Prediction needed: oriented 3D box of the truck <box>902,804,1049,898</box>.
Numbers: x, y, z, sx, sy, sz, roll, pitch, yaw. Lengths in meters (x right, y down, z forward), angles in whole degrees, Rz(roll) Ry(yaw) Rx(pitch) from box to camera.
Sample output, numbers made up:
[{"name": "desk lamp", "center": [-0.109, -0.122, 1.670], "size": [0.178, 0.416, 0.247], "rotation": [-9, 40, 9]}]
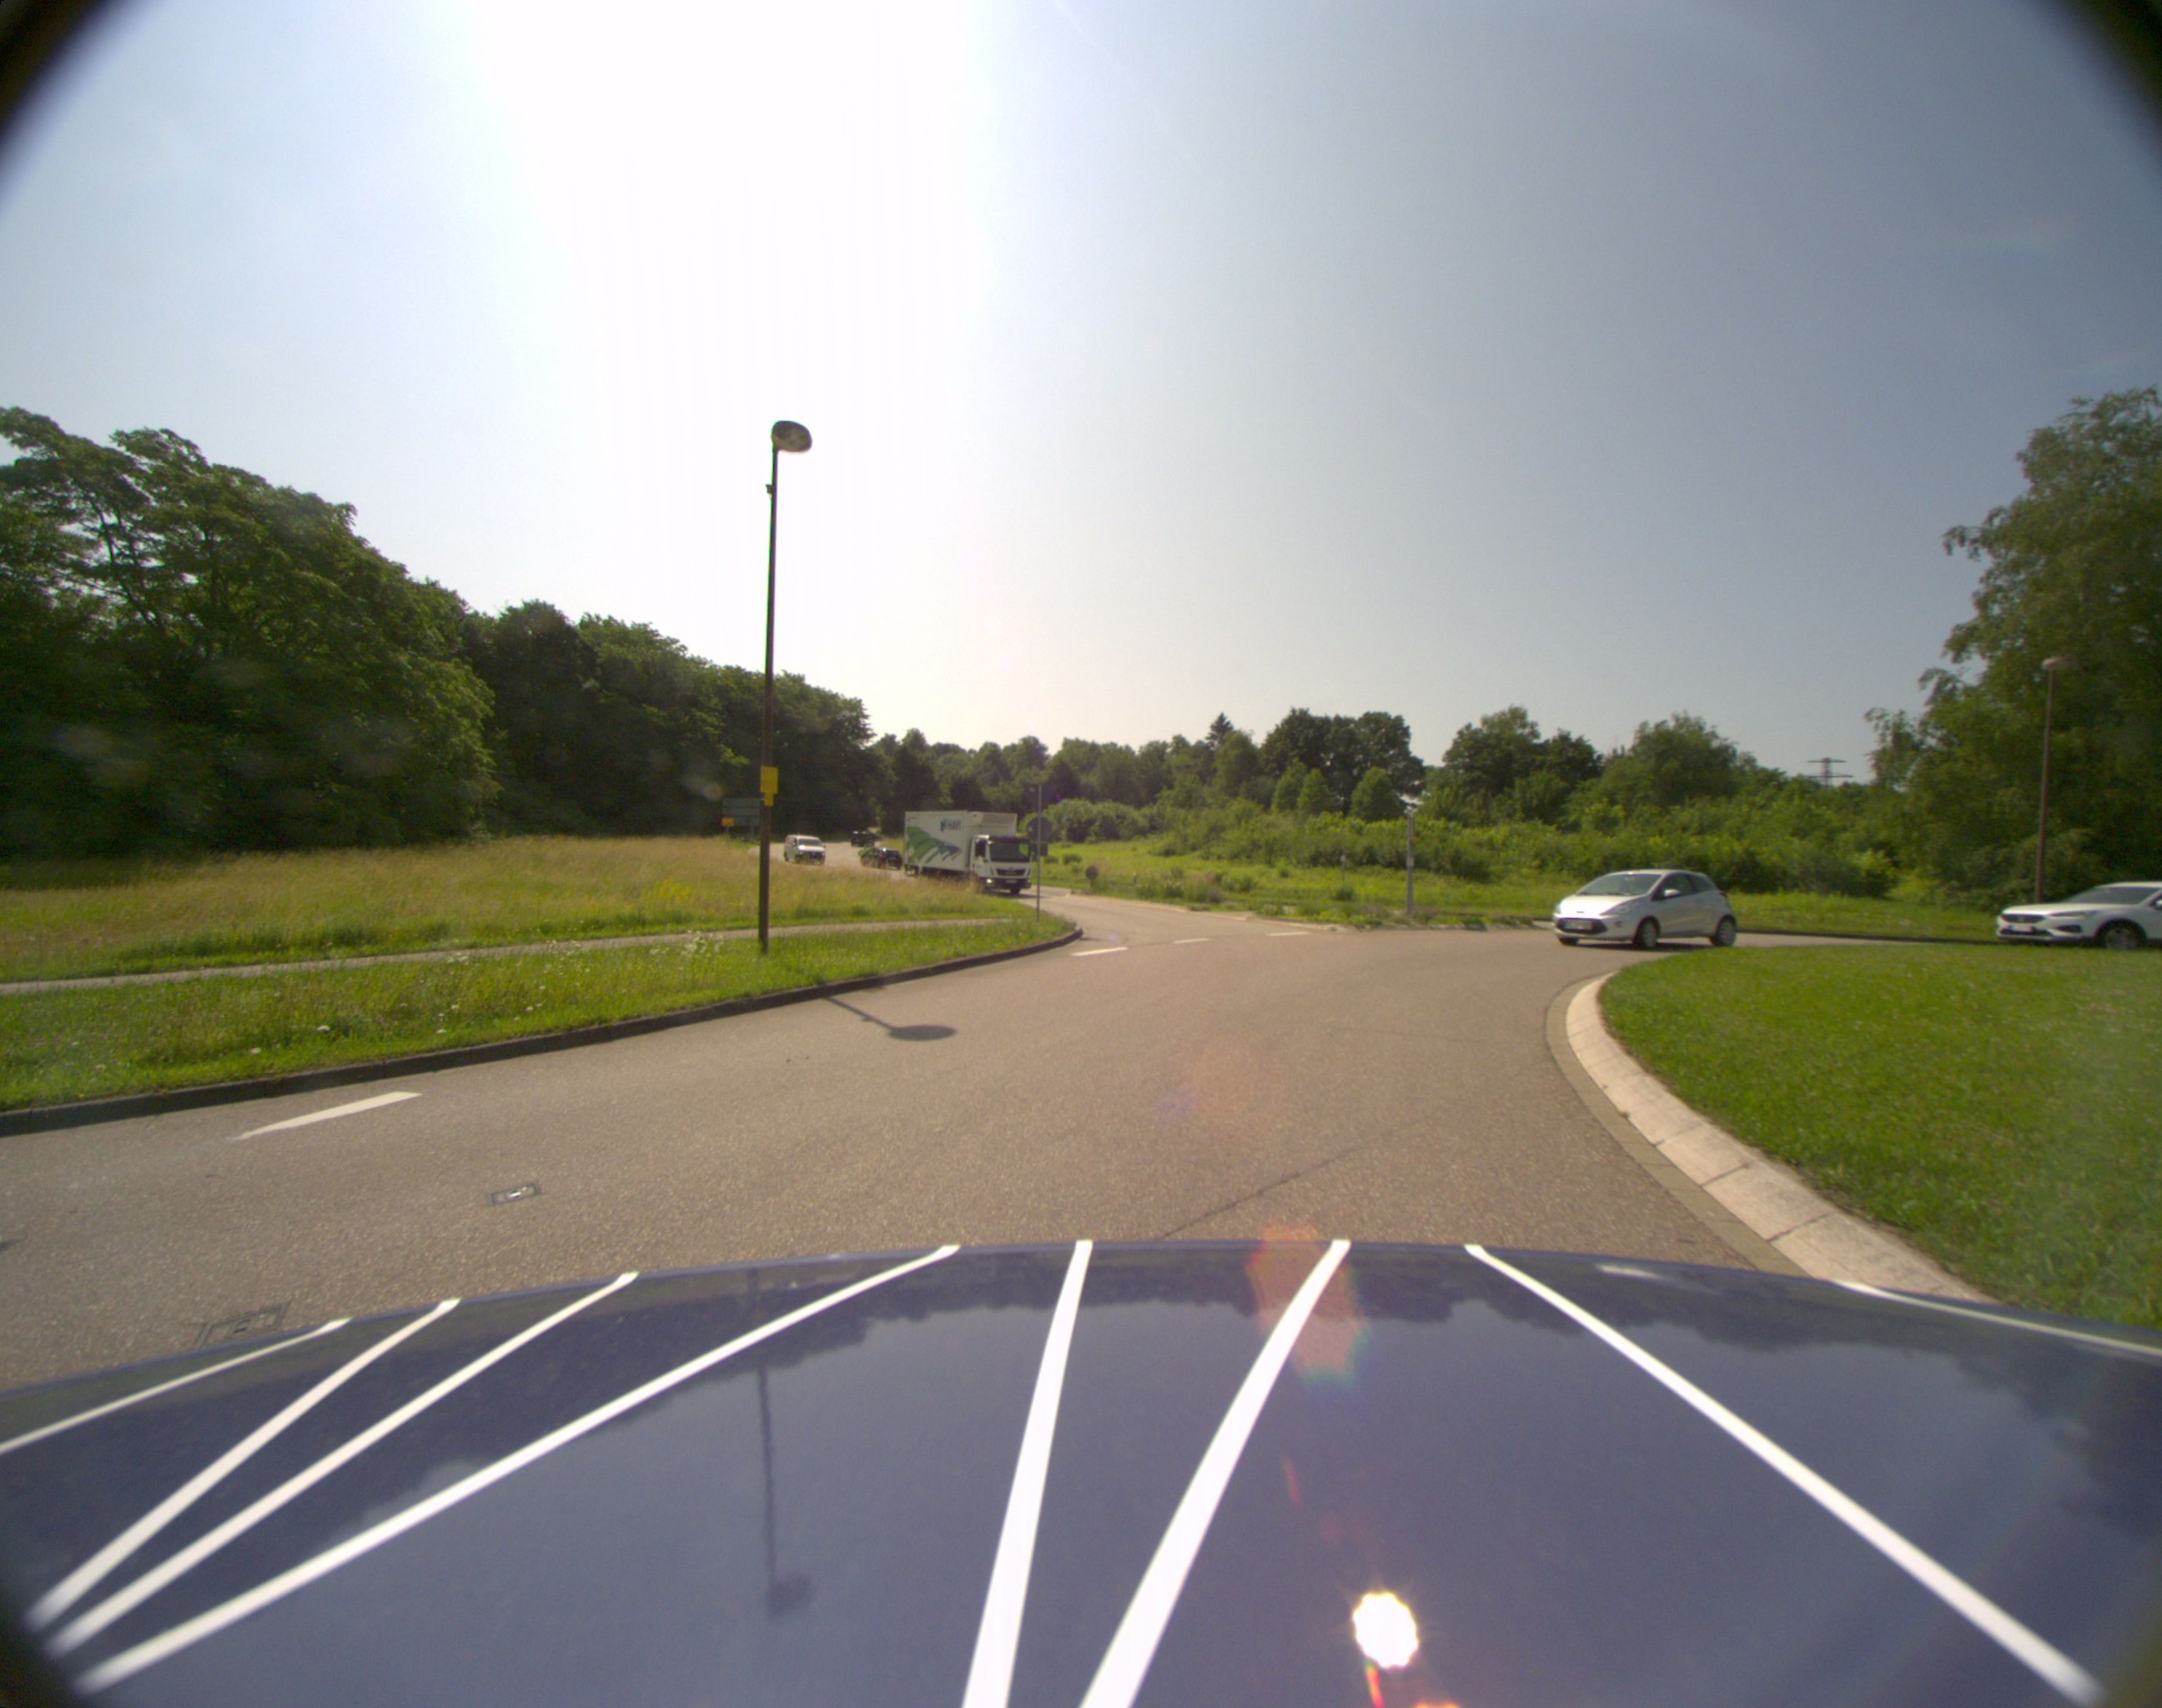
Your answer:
[{"name": "truck", "center": [-5.166, -0.212, 35.296], "size": [2.905, 3.807, 8.998], "rotation": [-1, 2, -36]}]

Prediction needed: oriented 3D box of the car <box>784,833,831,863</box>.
[{"name": "car", "center": [-19.567, -0.457, 54.191], "size": [2.003, 2.002, 5.588], "rotation": [-1, 2, -31]}]

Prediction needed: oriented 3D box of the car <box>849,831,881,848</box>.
[{"name": "car", "center": [-24.204, -1.609, 85.429], "size": [1.910, 1.586, 4.377], "rotation": [2, -1, 7]}]

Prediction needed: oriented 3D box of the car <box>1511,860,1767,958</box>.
[{"name": "car", "center": [10.943, 0.980, 14.951], "size": [4.203, 1.606, 2.125], "rotation": [-1, -1, -21]}]

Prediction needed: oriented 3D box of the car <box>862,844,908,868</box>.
[{"name": "car", "center": [-14.090, 0.140, 54.564], "size": [1.762, 1.520, 4.202], "rotation": [4, -2, -35]}]

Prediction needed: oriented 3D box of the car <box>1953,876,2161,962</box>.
[{"name": "car", "center": [22.898, 1.353, 16.359], "size": [5.113, 1.643, 2.199], "rotation": [0, 1, 12]}]
